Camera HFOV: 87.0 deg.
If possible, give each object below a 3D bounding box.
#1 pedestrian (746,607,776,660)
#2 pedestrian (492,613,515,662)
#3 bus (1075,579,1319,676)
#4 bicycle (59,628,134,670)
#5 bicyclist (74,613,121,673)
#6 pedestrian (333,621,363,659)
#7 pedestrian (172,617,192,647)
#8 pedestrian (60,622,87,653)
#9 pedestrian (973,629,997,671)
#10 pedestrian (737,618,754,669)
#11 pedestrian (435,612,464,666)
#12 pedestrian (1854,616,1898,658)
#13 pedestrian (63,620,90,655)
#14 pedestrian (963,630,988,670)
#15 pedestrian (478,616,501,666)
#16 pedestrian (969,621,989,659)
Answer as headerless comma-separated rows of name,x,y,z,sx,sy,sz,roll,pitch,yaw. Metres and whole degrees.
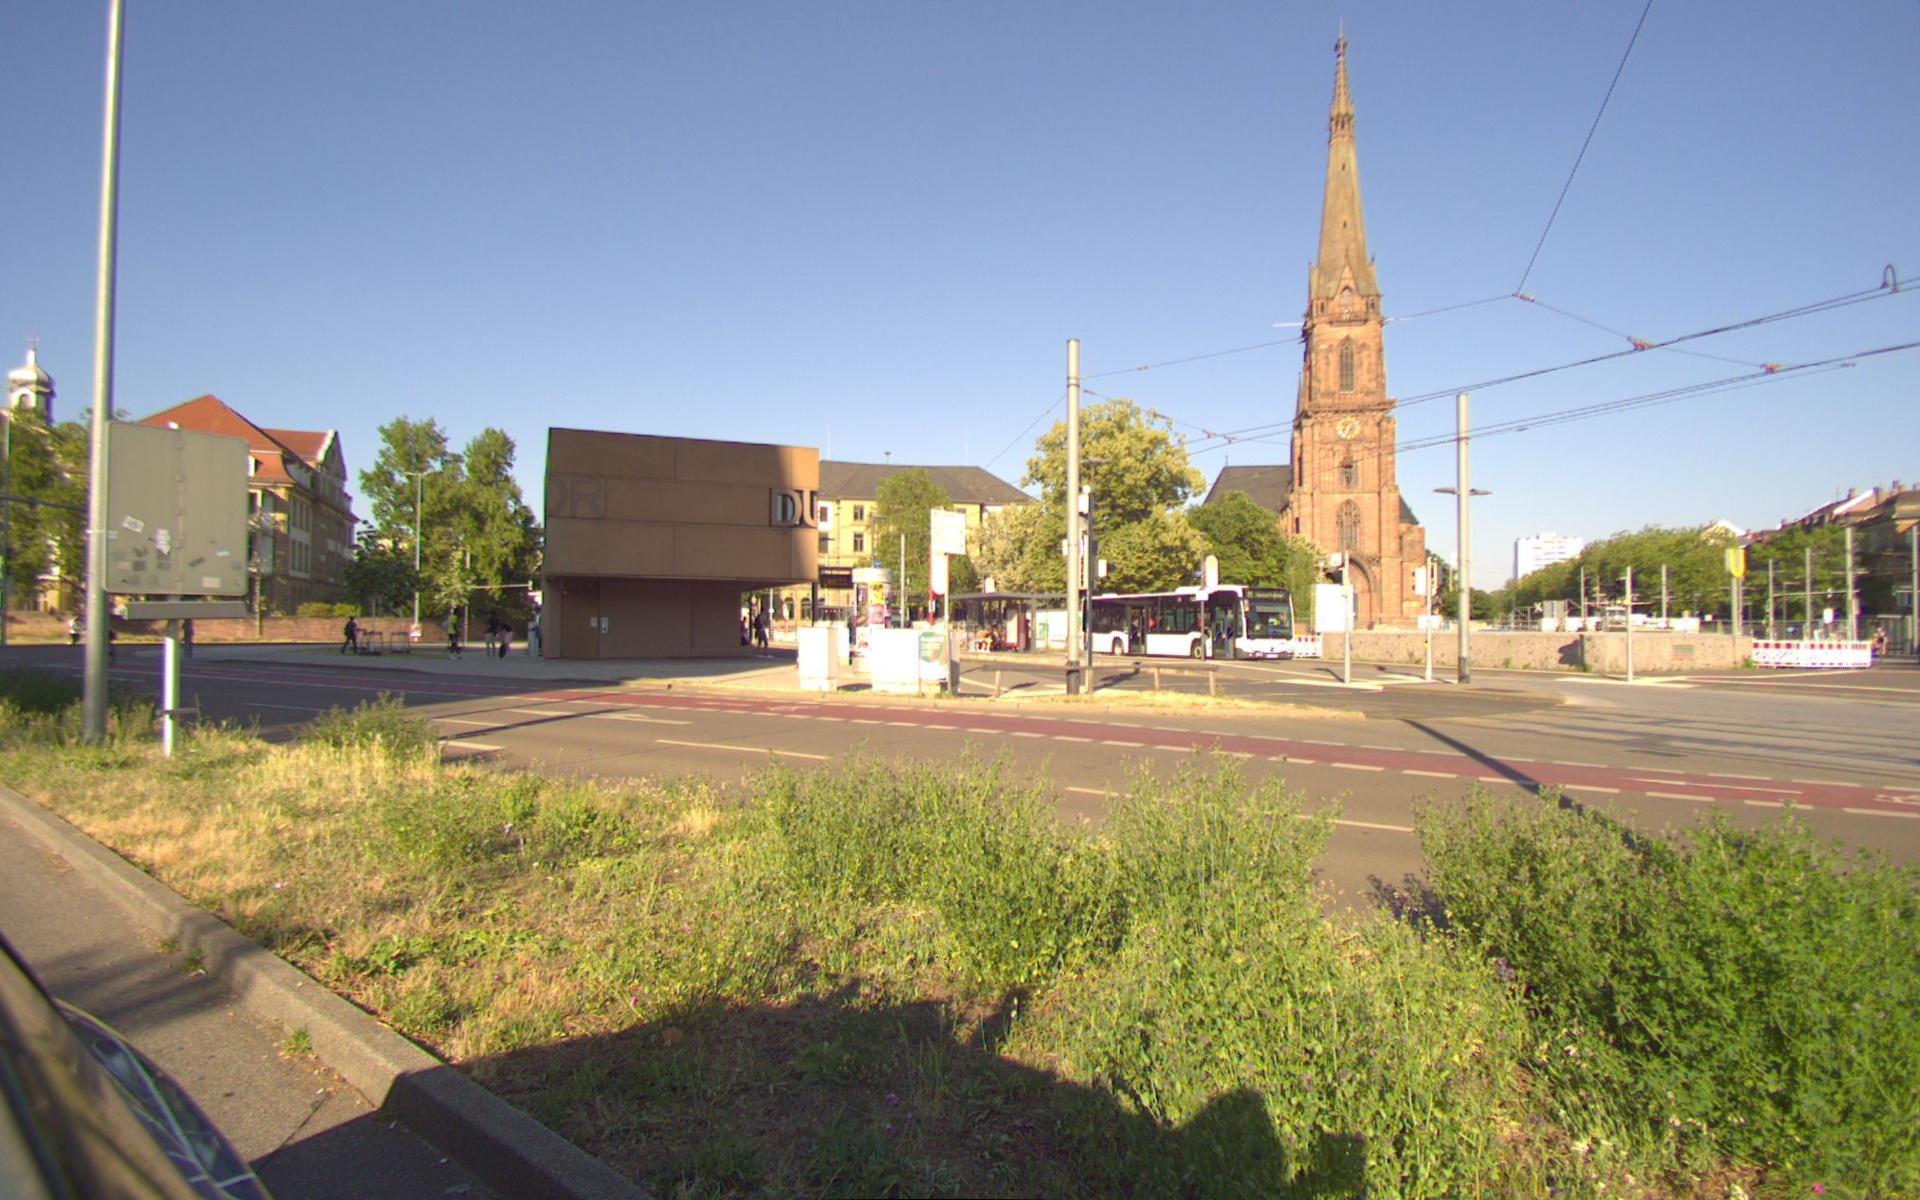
pedestrian,-7.656,1.307,38.965,0.964,1.997,0.721,1,-3,-23
pedestrian,-16.618,1.374,36.823,0.723,1.744,0.667,-1,-2,-24
bus,9.333,0.965,42.474,3.194,3.342,12.229,4,-1,-23
bicycle,-27.430,1.524,32.135,2.539,1.265,0.736,0,-1,23
bicyclist,-27.360,1.346,32.105,1.007,1.846,0.737,0,-1,22
pedestrian,-27.516,1.801,45.502,0.745,1.697,0.890,-1,-2,30
pedestrian,-44.791,1.854,58.262,0.780,1.665,0.715,3,0,-33
pedestrian,-48.818,2.061,55.709,0.710,1.686,0.864,3,0,28
pedestrian,1.217,2.434,49.232,0.964,1.997,0.721,1,-3,-21
pedestrian,-8.729,1.754,41.164,0.604,2.029,0.809,-1,-2,-13
pedestrian,-17.835,1.359,35.376,0.639,1.849,0.709,-4,-3,41
pedestrian,45.666,1.838,50.469,1.373,2.029,1.499,-3,-3,37
pedestrian,-49.251,2.101,56.416,0.710,1.908,0.864,3,0,28
pedestrian,0.778,2.508,50.948,0.979,1.997,0.831,1,-3,-21
pedestrian,-16.607,1.445,35.718,0.629,1.702,0.551,0,-3,-36
pedestrian,0.996,2.125,53.725,0.802,1.997,0.757,1,-3,-21
